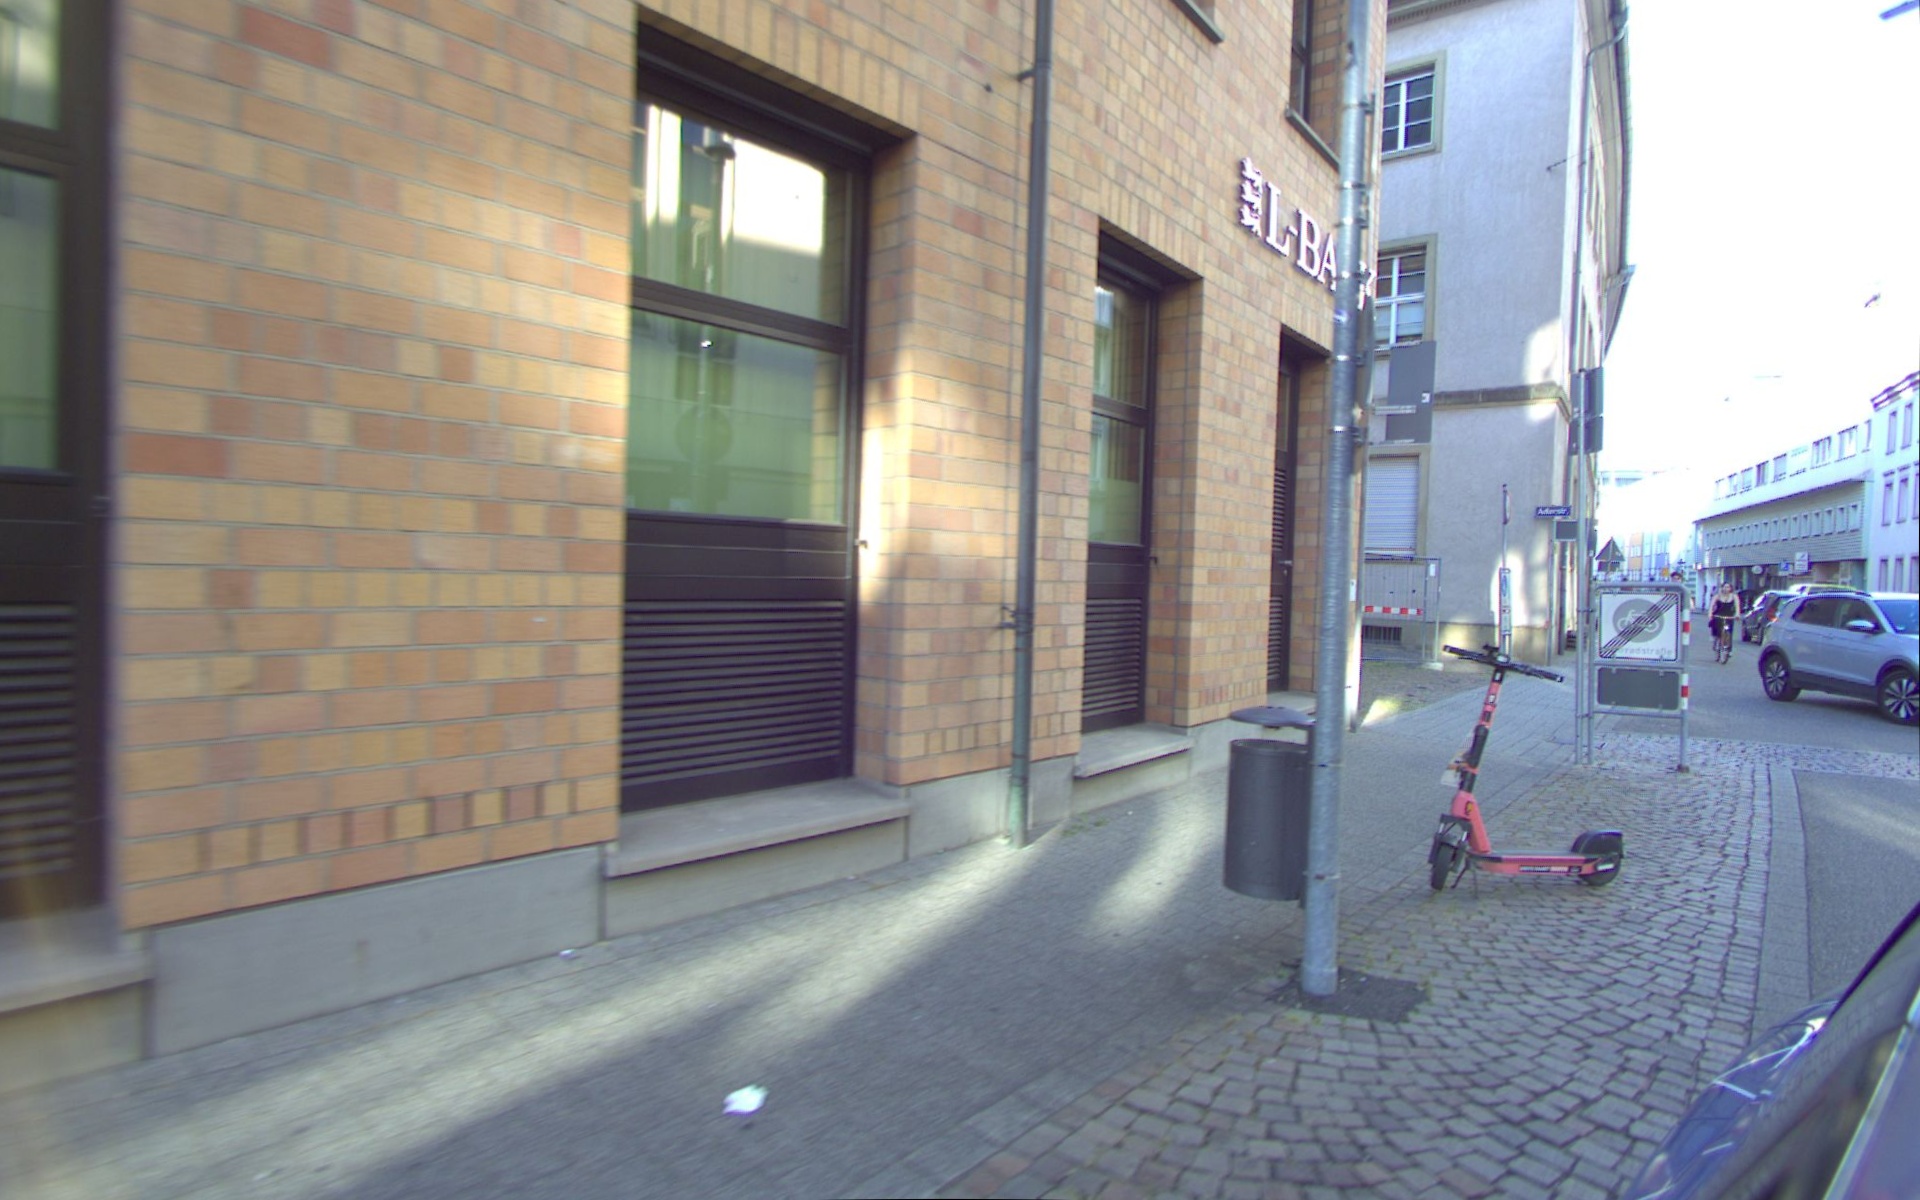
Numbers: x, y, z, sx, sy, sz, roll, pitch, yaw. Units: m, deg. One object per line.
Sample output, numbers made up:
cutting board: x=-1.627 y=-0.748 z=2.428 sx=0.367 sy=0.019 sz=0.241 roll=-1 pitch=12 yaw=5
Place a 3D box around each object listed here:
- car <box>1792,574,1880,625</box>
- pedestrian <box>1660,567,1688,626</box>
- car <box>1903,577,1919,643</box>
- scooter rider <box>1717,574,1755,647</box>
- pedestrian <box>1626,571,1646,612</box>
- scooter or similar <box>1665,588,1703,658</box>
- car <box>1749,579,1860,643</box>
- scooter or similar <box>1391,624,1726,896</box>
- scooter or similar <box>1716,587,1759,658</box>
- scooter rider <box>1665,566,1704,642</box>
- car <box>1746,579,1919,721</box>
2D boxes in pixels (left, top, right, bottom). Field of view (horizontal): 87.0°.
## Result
car: x=34.749 y=-0.072 z=40.243 sx=1.874 sy=1.897 sz=3.958 roll=1 pitch=2 yaw=30
pedestrian: x=25.373 y=-0.140 z=35.969 sx=0.711 sy=2.038 sz=0.691 roll=3 pitch=2 yaw=33
car: x=26.196 y=0.324 z=26.259 sx=1.878 sy=1.725 sz=3.950 roll=4 pitch=3 yaw=35
scooter rider: x=16.483 y=0.211 z=21.509 sx=0.588 sy=1.527 sz=0.593 roll=0 pitch=1 yaw=34
pedestrian: x=33.993 y=-0.444 z=50.916 sx=0.711 sy=2.038 sz=0.691 roll=3 pitch=2 yaw=33
scooter or similar: x=15.523 y=0.463 z=21.722 sx=0.520 sy=1.413 sz=1.537 roll=3 pitch=2 yaw=33
car: x=24.191 y=0.310 z=29.123 sx=1.843 sy=1.613 sz=3.762 roll=4 pitch=1 yaw=32
scooter or similar: x=2.988 y=0.771 z=5.100 sx=1.390 sy=1.251 sz=0.539 roll=1 pitch=1 yaw=-8
scooter or similar: x=16.469 y=0.457 z=21.462 sx=0.546 sy=1.413 sz=1.537 roll=3 pitch=2 yaw=33
scooter rider: x=15.726 y=0.076 z=21.983 sx=0.643 sy=1.613 sz=0.593 roll=0 pitch=1 yaw=34
car: x=12.007 y=0.572 z=12.639 sx=1.736 sy=1.565 sz=3.989 roll=2 pitch=2 yaw=10
